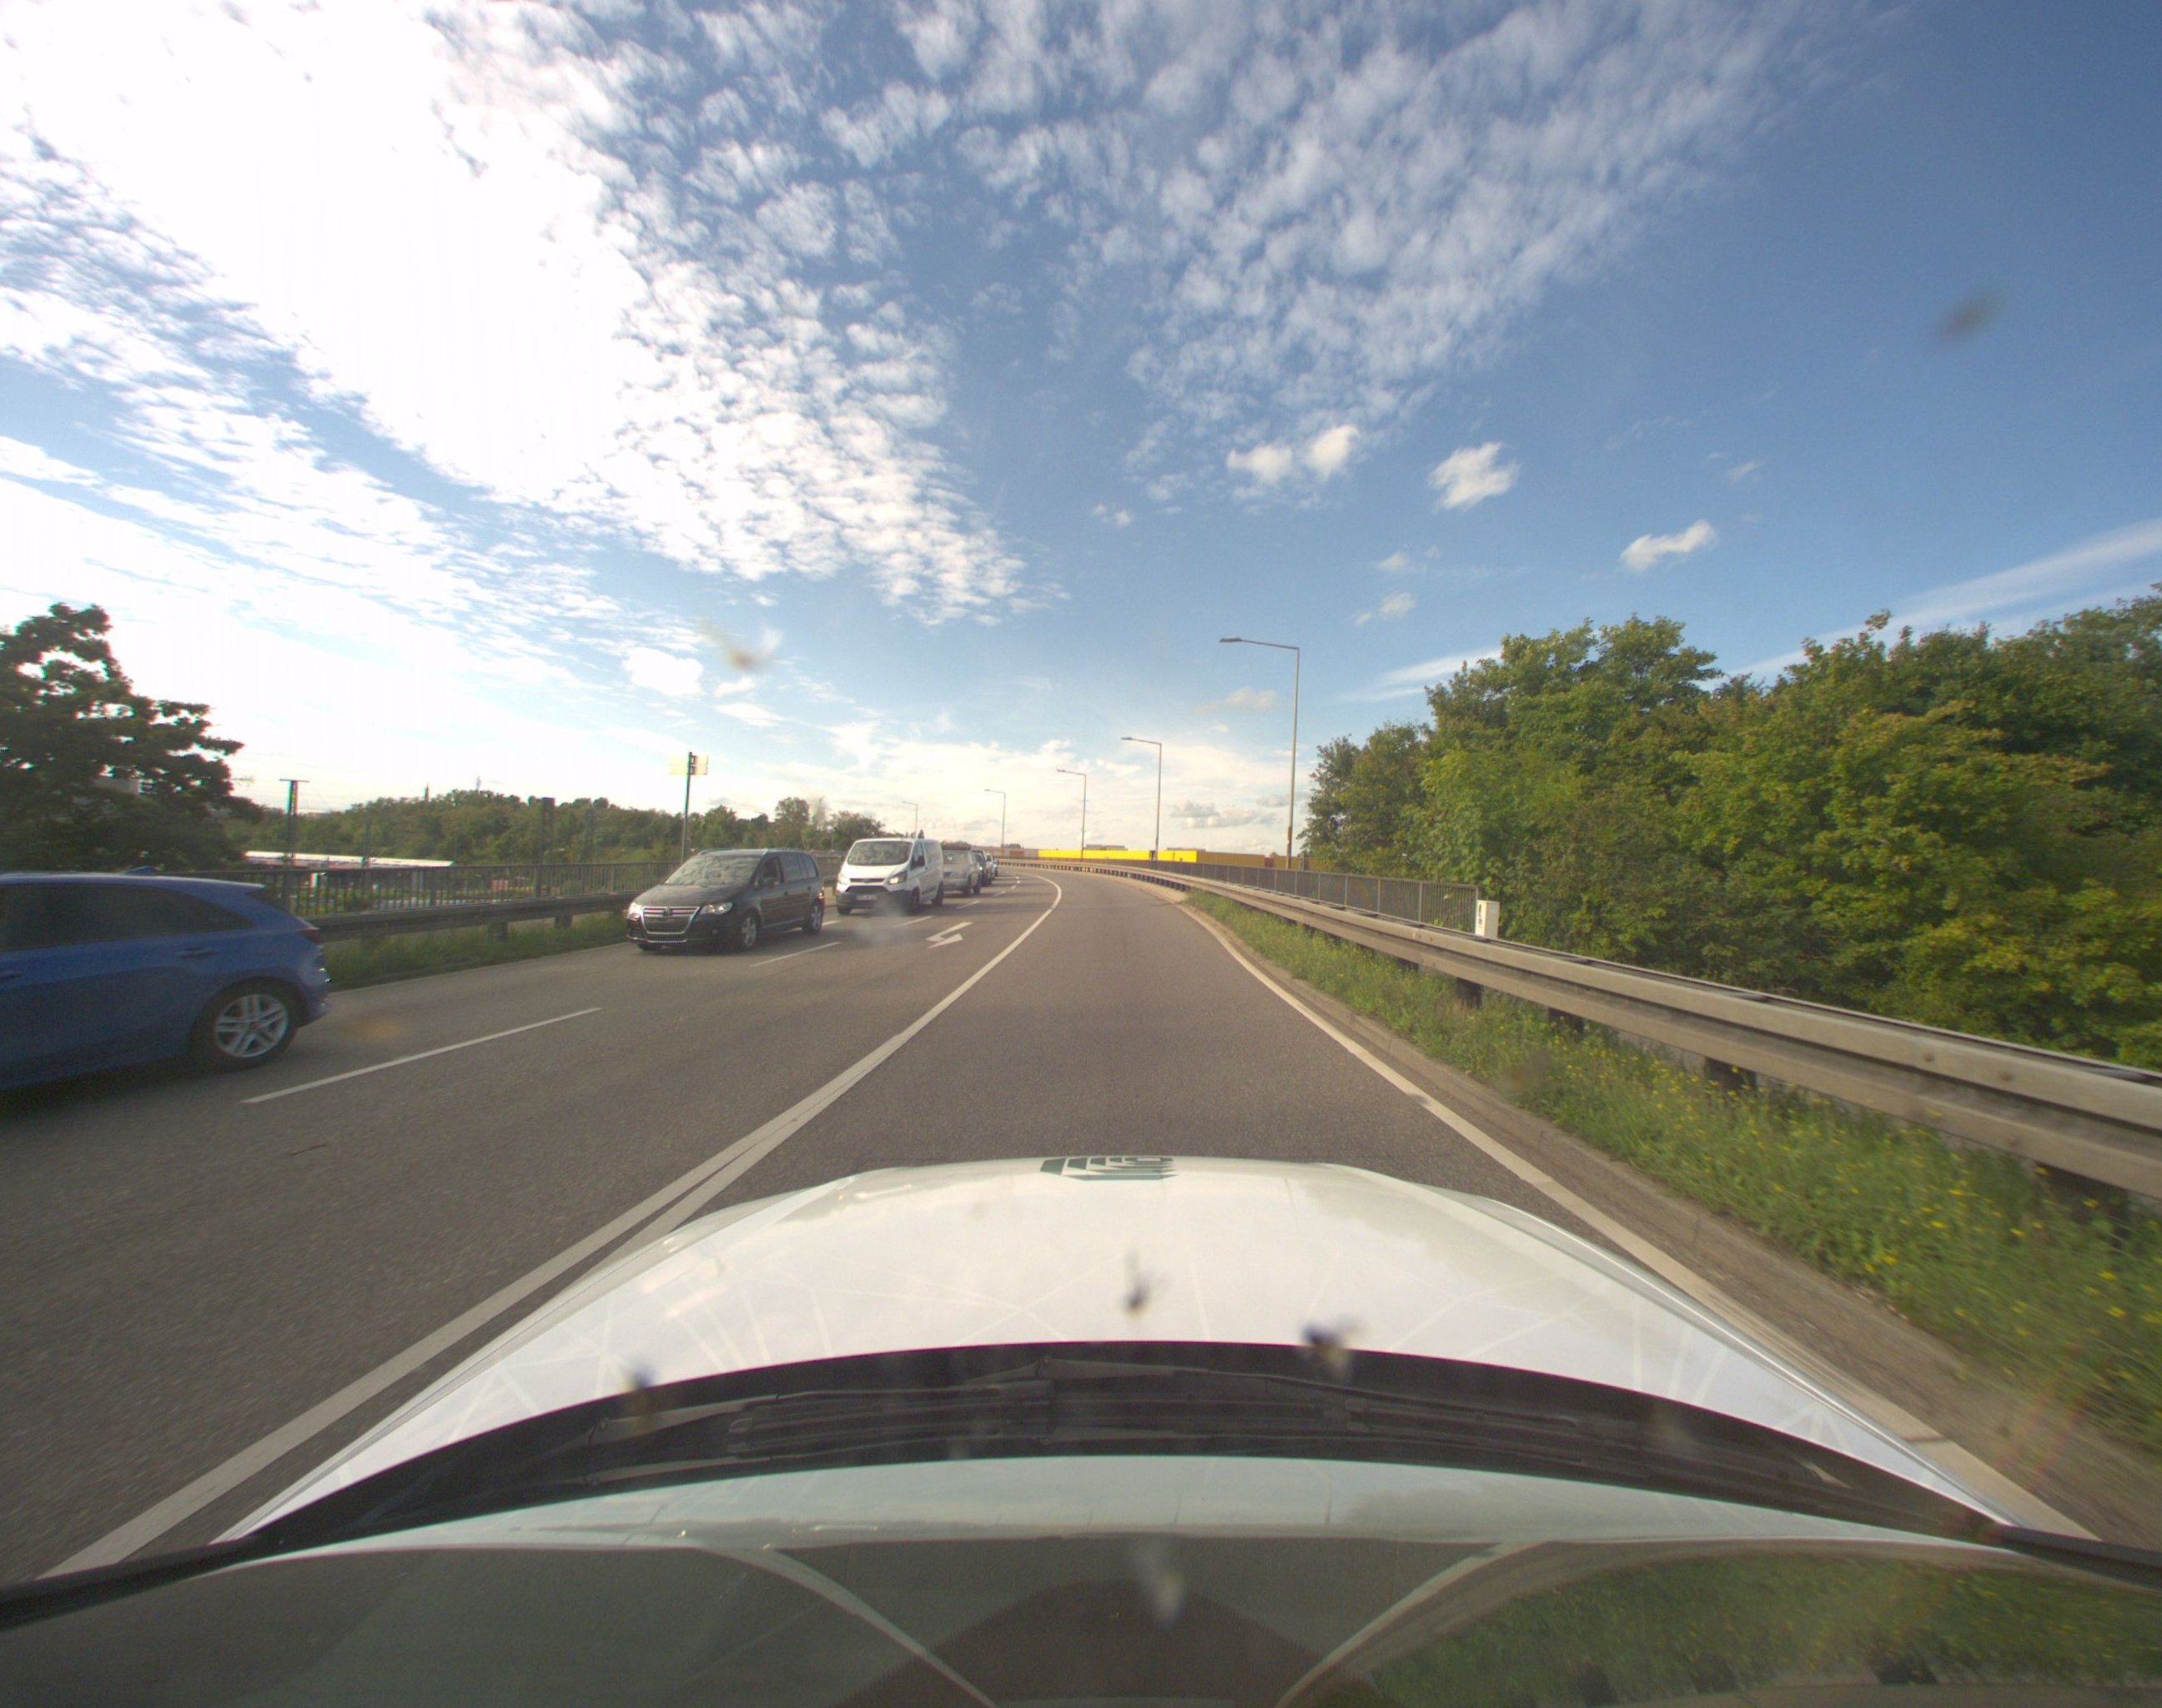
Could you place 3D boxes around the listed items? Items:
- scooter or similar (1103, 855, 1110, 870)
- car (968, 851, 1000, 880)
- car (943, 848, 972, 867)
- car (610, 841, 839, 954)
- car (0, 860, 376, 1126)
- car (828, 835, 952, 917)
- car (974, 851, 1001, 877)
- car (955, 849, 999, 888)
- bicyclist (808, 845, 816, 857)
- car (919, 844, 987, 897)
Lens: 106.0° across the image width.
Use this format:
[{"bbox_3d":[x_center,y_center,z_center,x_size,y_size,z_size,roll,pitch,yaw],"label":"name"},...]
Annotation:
[{"bbox_3d":[1.986,0.662,63.399,0.265,1.162,1.183,0,0,-13],"label":"scooter or similar"},{"bbox_3d":[-5.441,0.615,45.406,1.682,1.545,3.913,0,0,-8],"label":"car"},{"bbox_3d":[-12.093,0.321,79.527,1.782,1.746,3.805,0,0,-25],"label":"car"},{"bbox_3d":[-5.898,0.619,14.172,1.738,1.654,4.458,0,0,4],"label":"car"},{"bbox_3d":[-6.945,0.789,4.567,1.883,1.447,4.369,0,0,7],"label":"car"},{"bbox_3d":[-4.959,0.501,21.950,1.977,1.964,5.050,0,0,2],"label":"car"},{"bbox_3d":[-5.996,0.617,51.932,1.682,1.545,3.913,0,0,-8],"label":"car"},{"bbox_3d":[-4.730,0.598,37.295,1.867,1.666,4.619,0,0,-6],"label":"car"},{"bbox_3d":[-38.564,-0.396,116.779,0.773,1.660,1.107,0,-1,-42],"label":"bicyclist"},{"bbox_3d":[-4.443,0.544,28.796,1.768,1.746,3.837,0,0,0],"label":"car"}]
